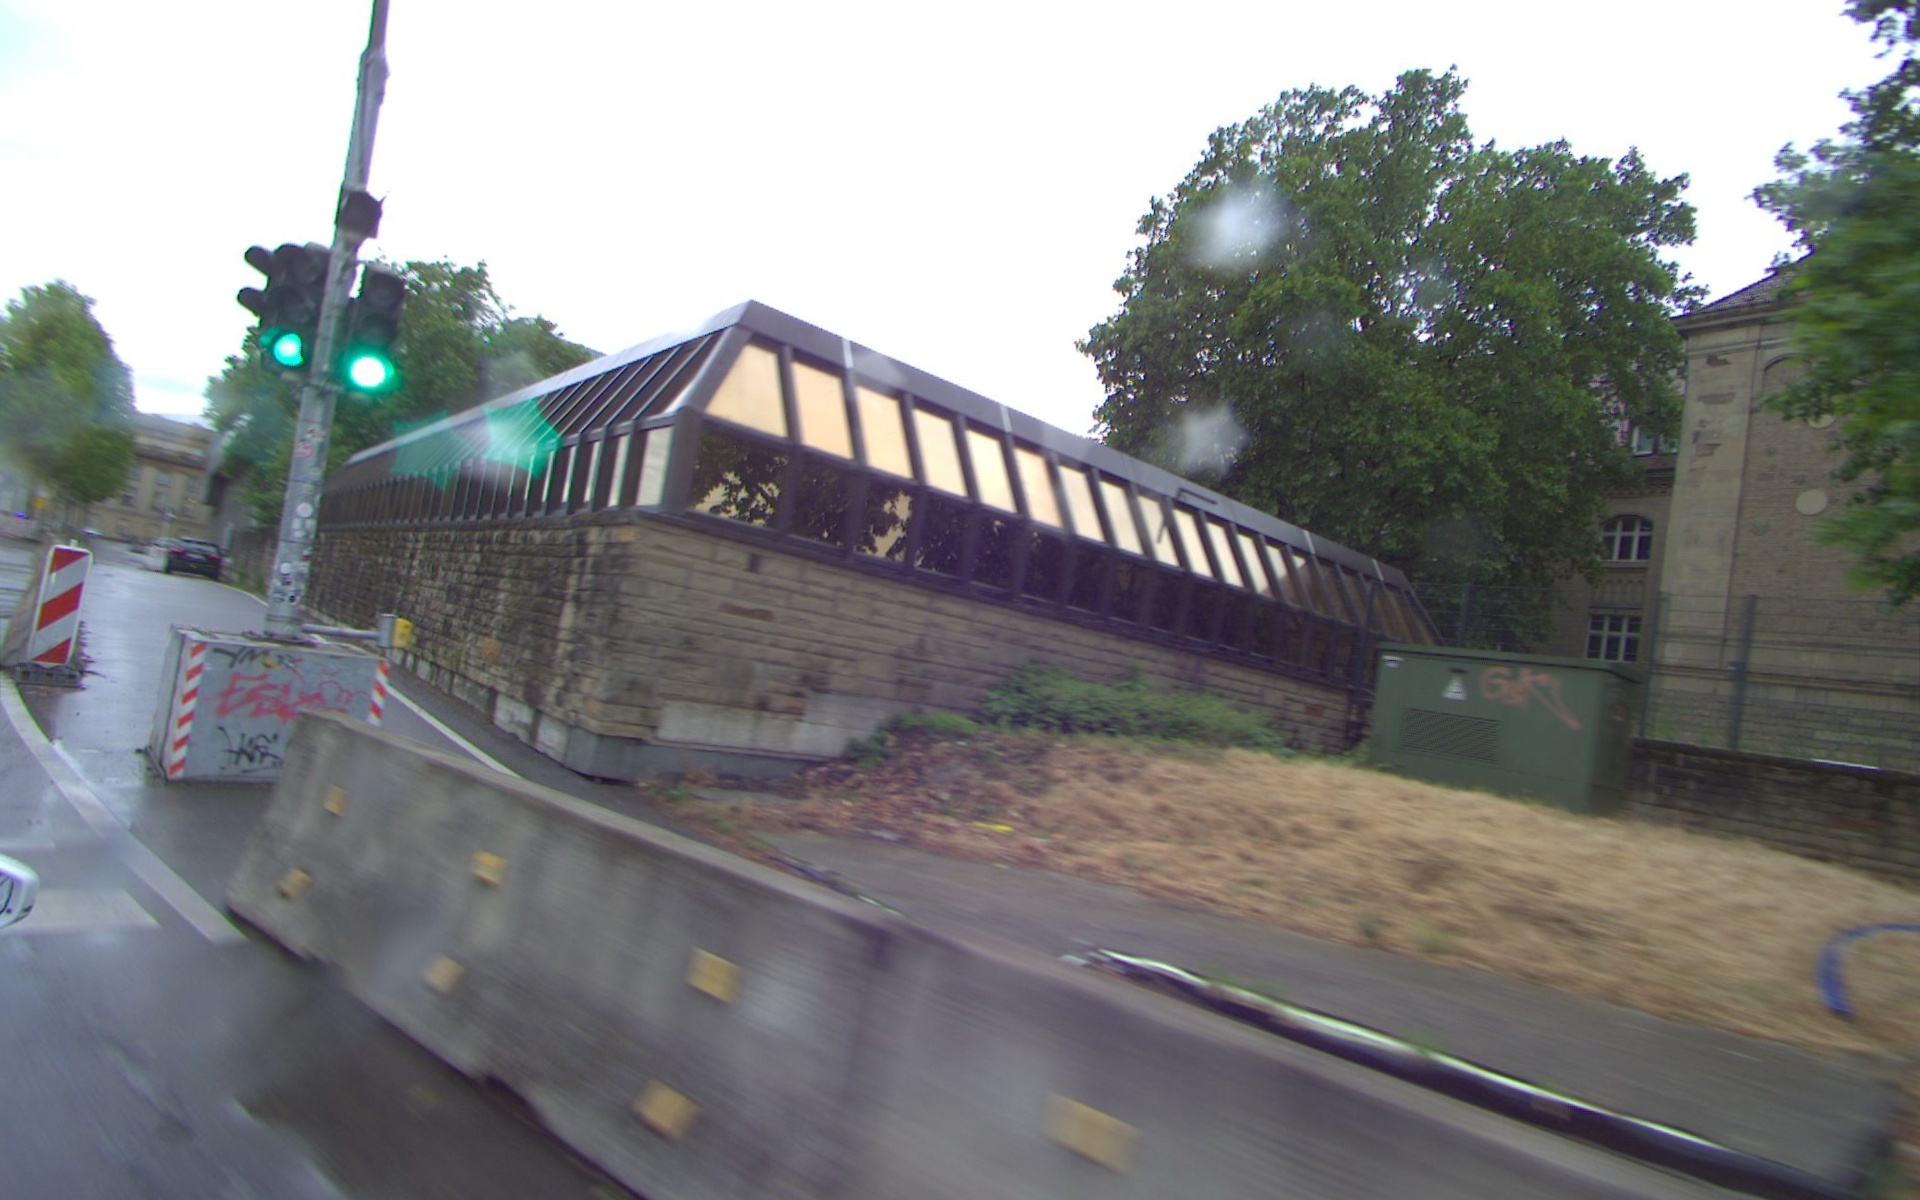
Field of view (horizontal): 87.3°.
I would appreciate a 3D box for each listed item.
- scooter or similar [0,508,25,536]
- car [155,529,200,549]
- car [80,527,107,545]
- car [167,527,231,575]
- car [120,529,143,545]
[{"bbox_3d":[-52.169,-4.320,54.966,1.353,1.297,0.612,15,-7,-40],"label":"scooter or similar"},{"bbox_3d":[-92.024,-7.125,118.292,3.976,1.575,1.913,11,-6,-41],"label":"car"},{"bbox_3d":[-107.031,-7.884,124.338,1.987,1.725,3.960,13,-5,-36],"label":"car"},{"bbox_3d":[-30.440,-1.998,40.330,1.796,1.569,4.283,9,-2,-36],"label":"car"},{"bbox_3d":[-117.811,-8.999,143.065,1.987,1.724,3.962,13,-7,-36],"label":"car"}]
